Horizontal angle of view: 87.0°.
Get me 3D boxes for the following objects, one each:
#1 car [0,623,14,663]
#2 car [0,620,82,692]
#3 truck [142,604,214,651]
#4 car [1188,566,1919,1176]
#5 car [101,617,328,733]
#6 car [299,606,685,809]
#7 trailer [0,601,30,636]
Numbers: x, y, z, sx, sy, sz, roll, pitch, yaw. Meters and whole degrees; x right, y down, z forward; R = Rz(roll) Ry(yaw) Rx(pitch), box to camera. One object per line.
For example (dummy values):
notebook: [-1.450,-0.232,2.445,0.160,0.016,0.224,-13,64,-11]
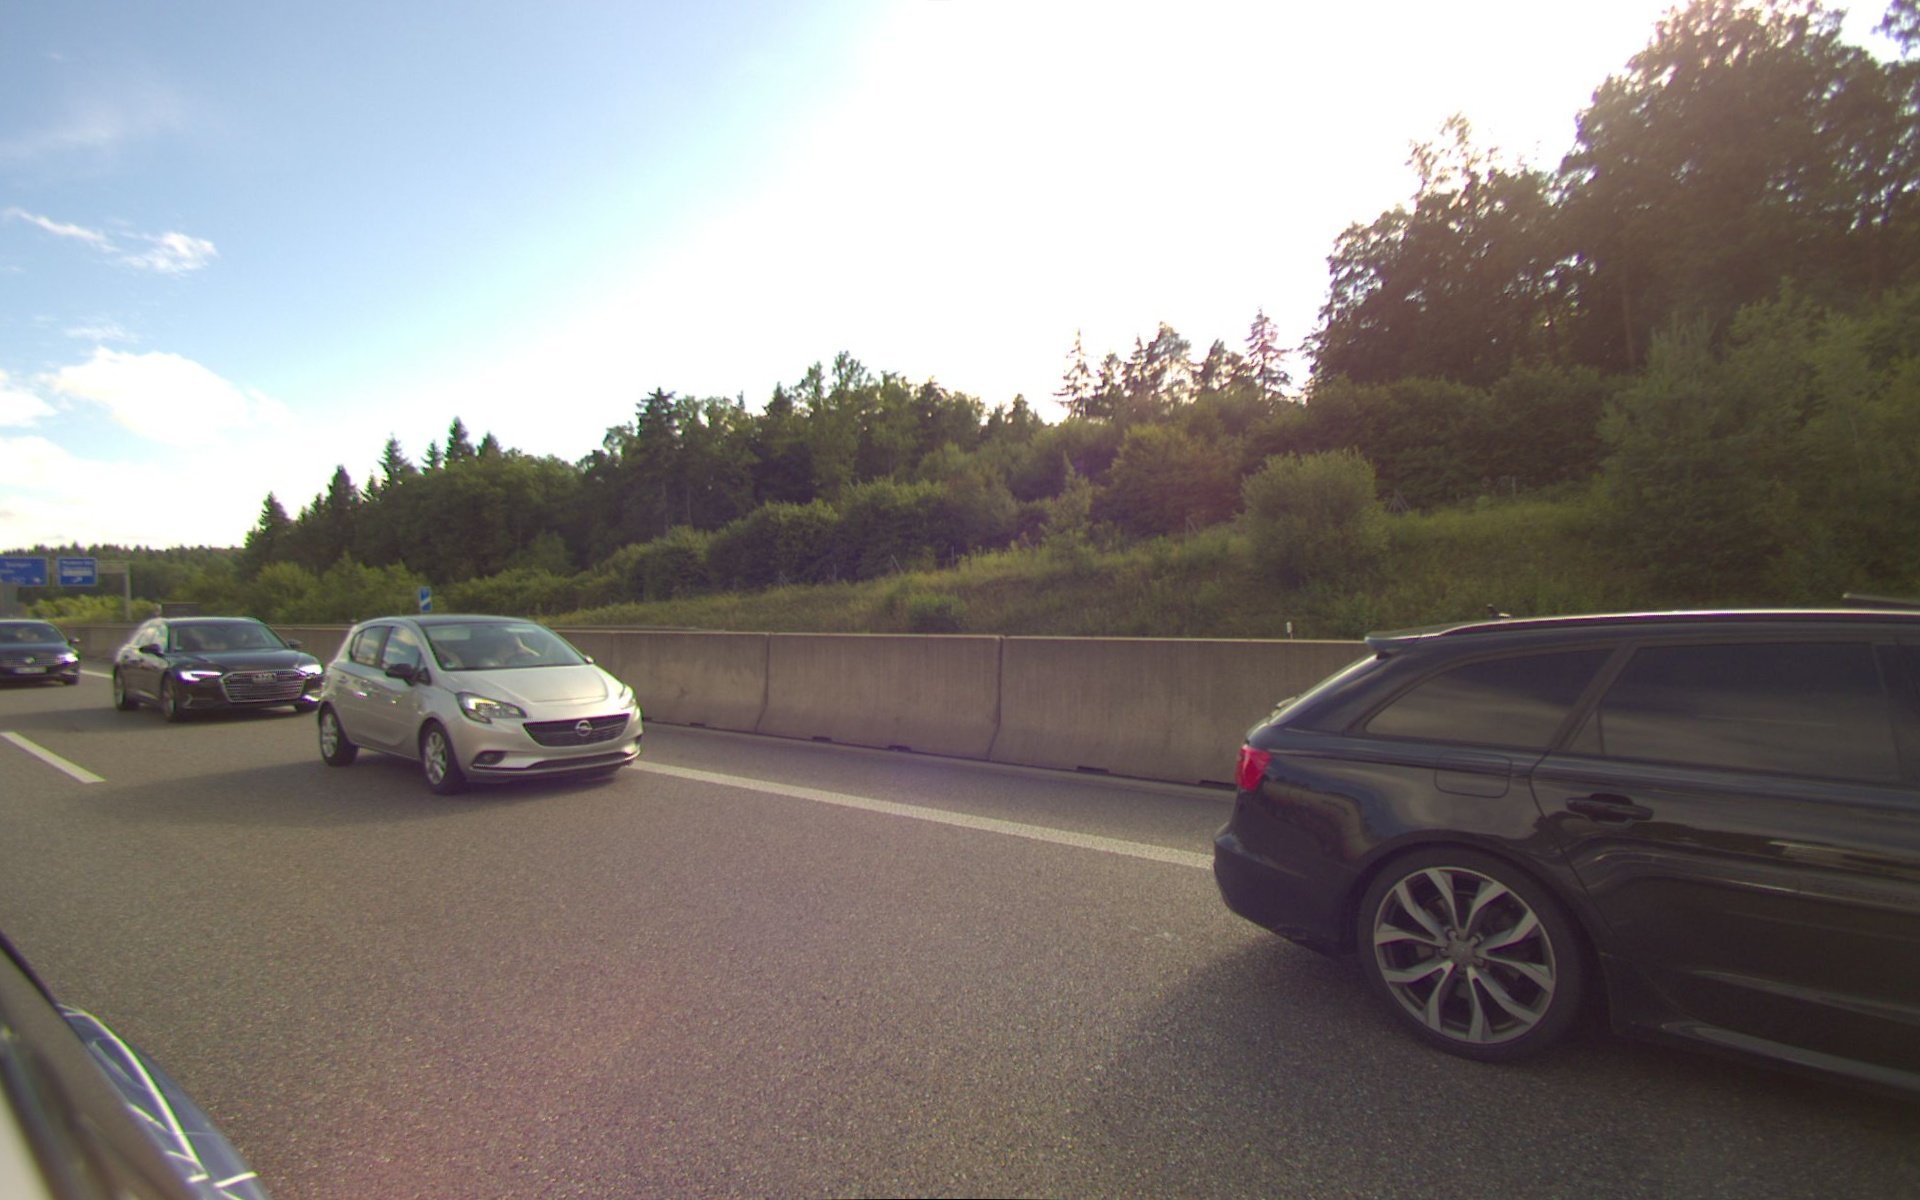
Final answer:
car: [-37.388,1.639,38.384,3.992,1.442,1.786,-1,-1,41]
car: [-21.407,1.214,22.876,4.568,1.488,1.890,-1,-1,43]
truck: [-50.666,1.777,65.501,6.426,2.876,2.398,-1,-1,40]
car: [3.226,0.637,2.842,4.745,1.467,1.824,-1,-1,41]
car: [-11.544,1.032,15.530,4.850,1.483,1.862,-1,-1,42]
car: [-4.447,0.831,9.345,4.038,1.477,1.729,-2,-2,41]
trailer: [-138.373,2.646,147.089,14.644,4.866,2.897,-1,0,40]
